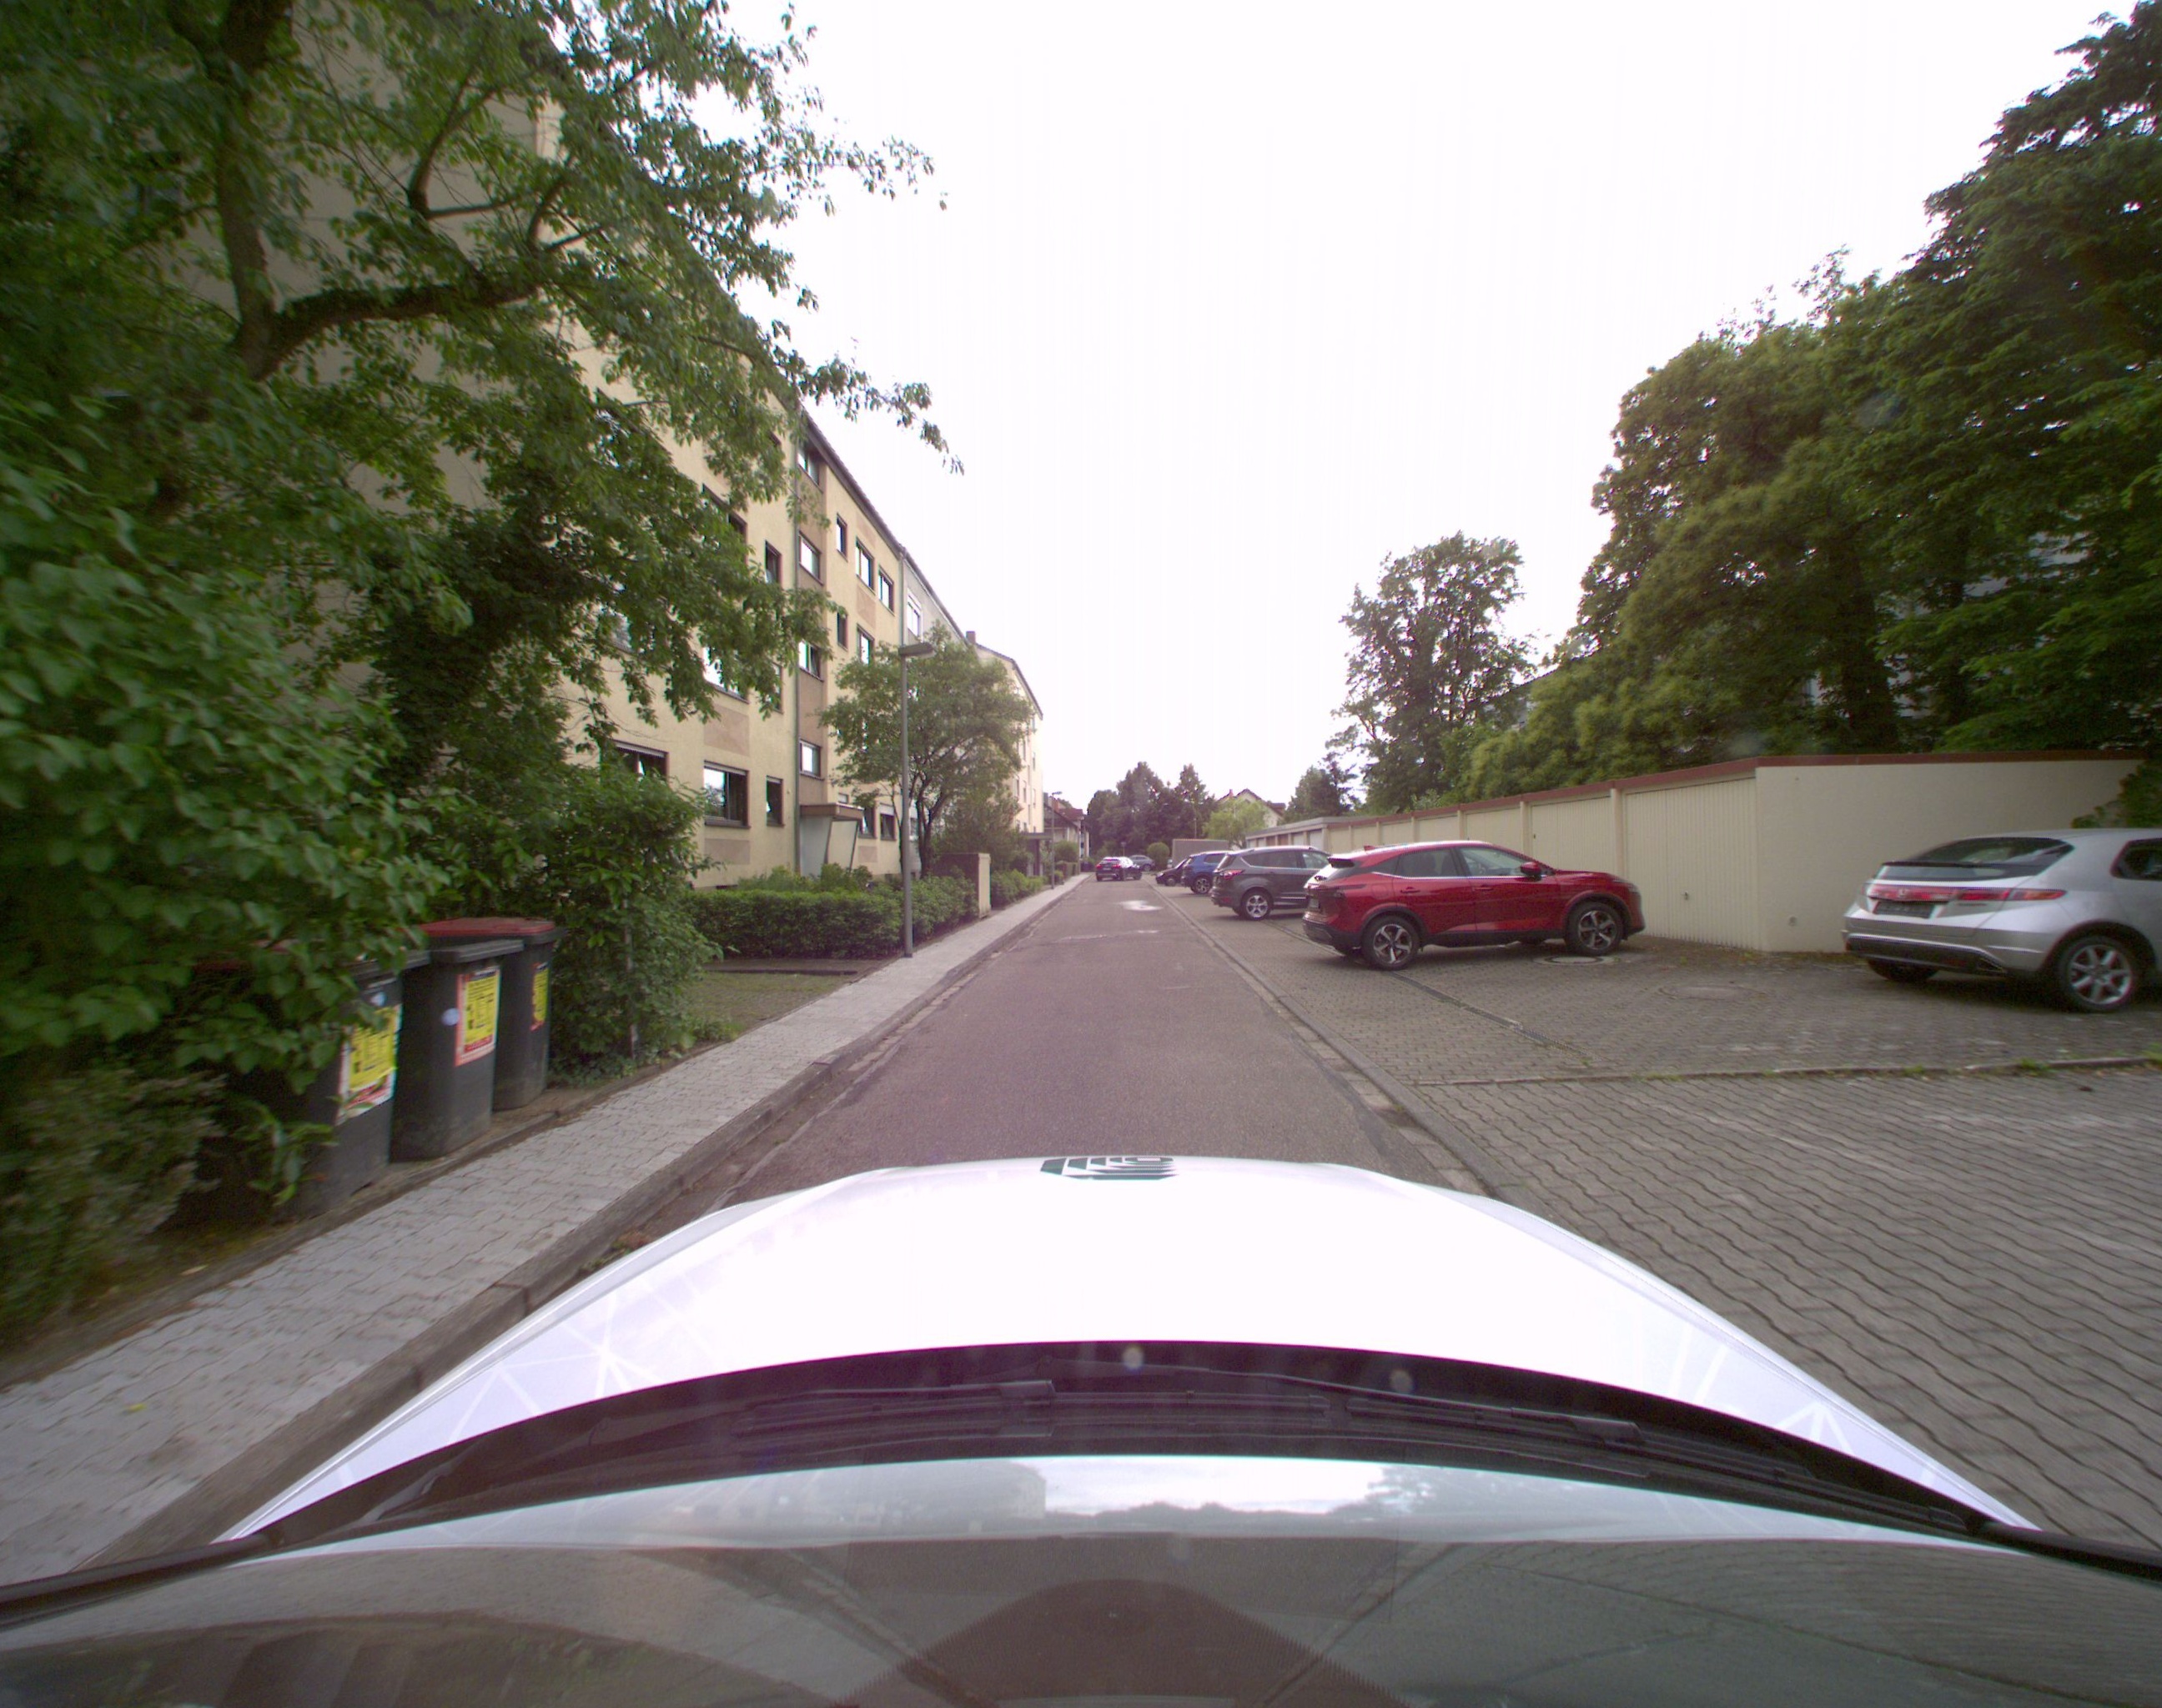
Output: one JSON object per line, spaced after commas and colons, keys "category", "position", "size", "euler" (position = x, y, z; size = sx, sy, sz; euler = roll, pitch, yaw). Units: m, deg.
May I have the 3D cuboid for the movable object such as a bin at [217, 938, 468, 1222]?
{"category": "movable object such as a bin", "position": [-3.174, 0.927, 3.558], "size": [0.596, 1.022, 0.534], "euler": [-3, 0, -18]}

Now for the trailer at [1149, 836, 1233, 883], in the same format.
{"category": "trailer", "position": [6.166, 0.306, 46.049], "size": [4.591, 2.525, 1.944], "euler": [-1, 0, 2]}

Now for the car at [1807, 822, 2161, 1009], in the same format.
{"category": "car", "position": [9.201, 0.453, 7.267], "size": [3.809, 1.447, 1.714], "euler": [-2, 0, 3]}

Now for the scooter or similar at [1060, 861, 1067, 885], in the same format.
{"category": "scooter or similar", "position": [-0.930, 1.010, 43.717], "size": [0.272, 1.211, 1.165], "euler": [-1, 0, 2]}

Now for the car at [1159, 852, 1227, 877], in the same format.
{"category": "car", "position": [7.681, 0.708, 56.309], "size": [4.517, 1.588, 1.990], "euler": [-1, 0, 4]}

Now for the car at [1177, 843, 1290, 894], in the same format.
{"category": "car", "position": [5.820, 0.545, 31.426], "size": [3.972, 1.703, 2.001], "euler": [-3, 0, 1]}

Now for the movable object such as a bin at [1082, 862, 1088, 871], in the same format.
{"category": "movable object such as a bin", "position": [0.426, 1.257, 81.775], "size": [0.636, 0.953, 0.723], "euler": [0, -1, 1]}

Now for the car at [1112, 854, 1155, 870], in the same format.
{"category": "car", "position": [5.101, 0.803, 79.510], "size": [4.221, 1.531, 1.748], "euler": [-1, -2, 1]}

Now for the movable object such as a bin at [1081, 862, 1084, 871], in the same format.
{"category": "movable object such as a bin", "position": [0.156, 1.291, 83.443], "size": [0.384, 0.890, 0.379], "euler": [0, -1, 0]}

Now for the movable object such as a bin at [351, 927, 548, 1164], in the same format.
{"category": "movable object such as a bin", "position": [-3.185, 0.929, 4.161], "size": [0.596, 1.022, 0.534], "euler": [-3, 0, -18]}

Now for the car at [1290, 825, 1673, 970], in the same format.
{"category": "car", "position": [5.279, 0.546, 11.211], "size": [4.273, 1.586, 1.936], "euler": [-3, 0, 1]}

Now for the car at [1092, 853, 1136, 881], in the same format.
{"category": "car", "position": [2.130, 0.808, 51.424], "size": [1.980, 1.552, 4.014], "euler": [-3, 0, 13]}

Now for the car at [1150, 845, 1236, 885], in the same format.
{"category": "car", "position": [5.921, 0.571, 43.366], "size": [4.295, 1.802, 2.001], "euler": [-3, 0, 1]}

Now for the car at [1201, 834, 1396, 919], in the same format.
{"category": "car", "position": [5.176, 0.529, 19.827], "size": [4.180, 1.727, 2.001], "euler": [-3, 0, 1]}

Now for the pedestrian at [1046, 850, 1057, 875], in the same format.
{"category": "pedestrian", "position": [-2.071, 0.610, 57.271], "size": [0.677, 1.749, 0.756], "euler": [0, -1, 0]}

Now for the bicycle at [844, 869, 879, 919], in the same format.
{"category": "bicycle", "position": [-5.172, 0.915, 19.225], "size": [0.314, 1.051, 1.692], "euler": [-2, 1, 1]}

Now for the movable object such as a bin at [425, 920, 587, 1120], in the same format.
{"category": "movable object such as a bin", "position": [-3.367, 0.939, 4.820], "size": [0.596, 1.022, 0.534], "euler": [-3, 0, -18]}

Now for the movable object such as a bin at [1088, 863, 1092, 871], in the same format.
{"category": "movable object such as a bin", "position": [0.923, 1.365, 83.669], "size": [0.458, 0.797, 0.379], "euler": [0, -1, 0]}
